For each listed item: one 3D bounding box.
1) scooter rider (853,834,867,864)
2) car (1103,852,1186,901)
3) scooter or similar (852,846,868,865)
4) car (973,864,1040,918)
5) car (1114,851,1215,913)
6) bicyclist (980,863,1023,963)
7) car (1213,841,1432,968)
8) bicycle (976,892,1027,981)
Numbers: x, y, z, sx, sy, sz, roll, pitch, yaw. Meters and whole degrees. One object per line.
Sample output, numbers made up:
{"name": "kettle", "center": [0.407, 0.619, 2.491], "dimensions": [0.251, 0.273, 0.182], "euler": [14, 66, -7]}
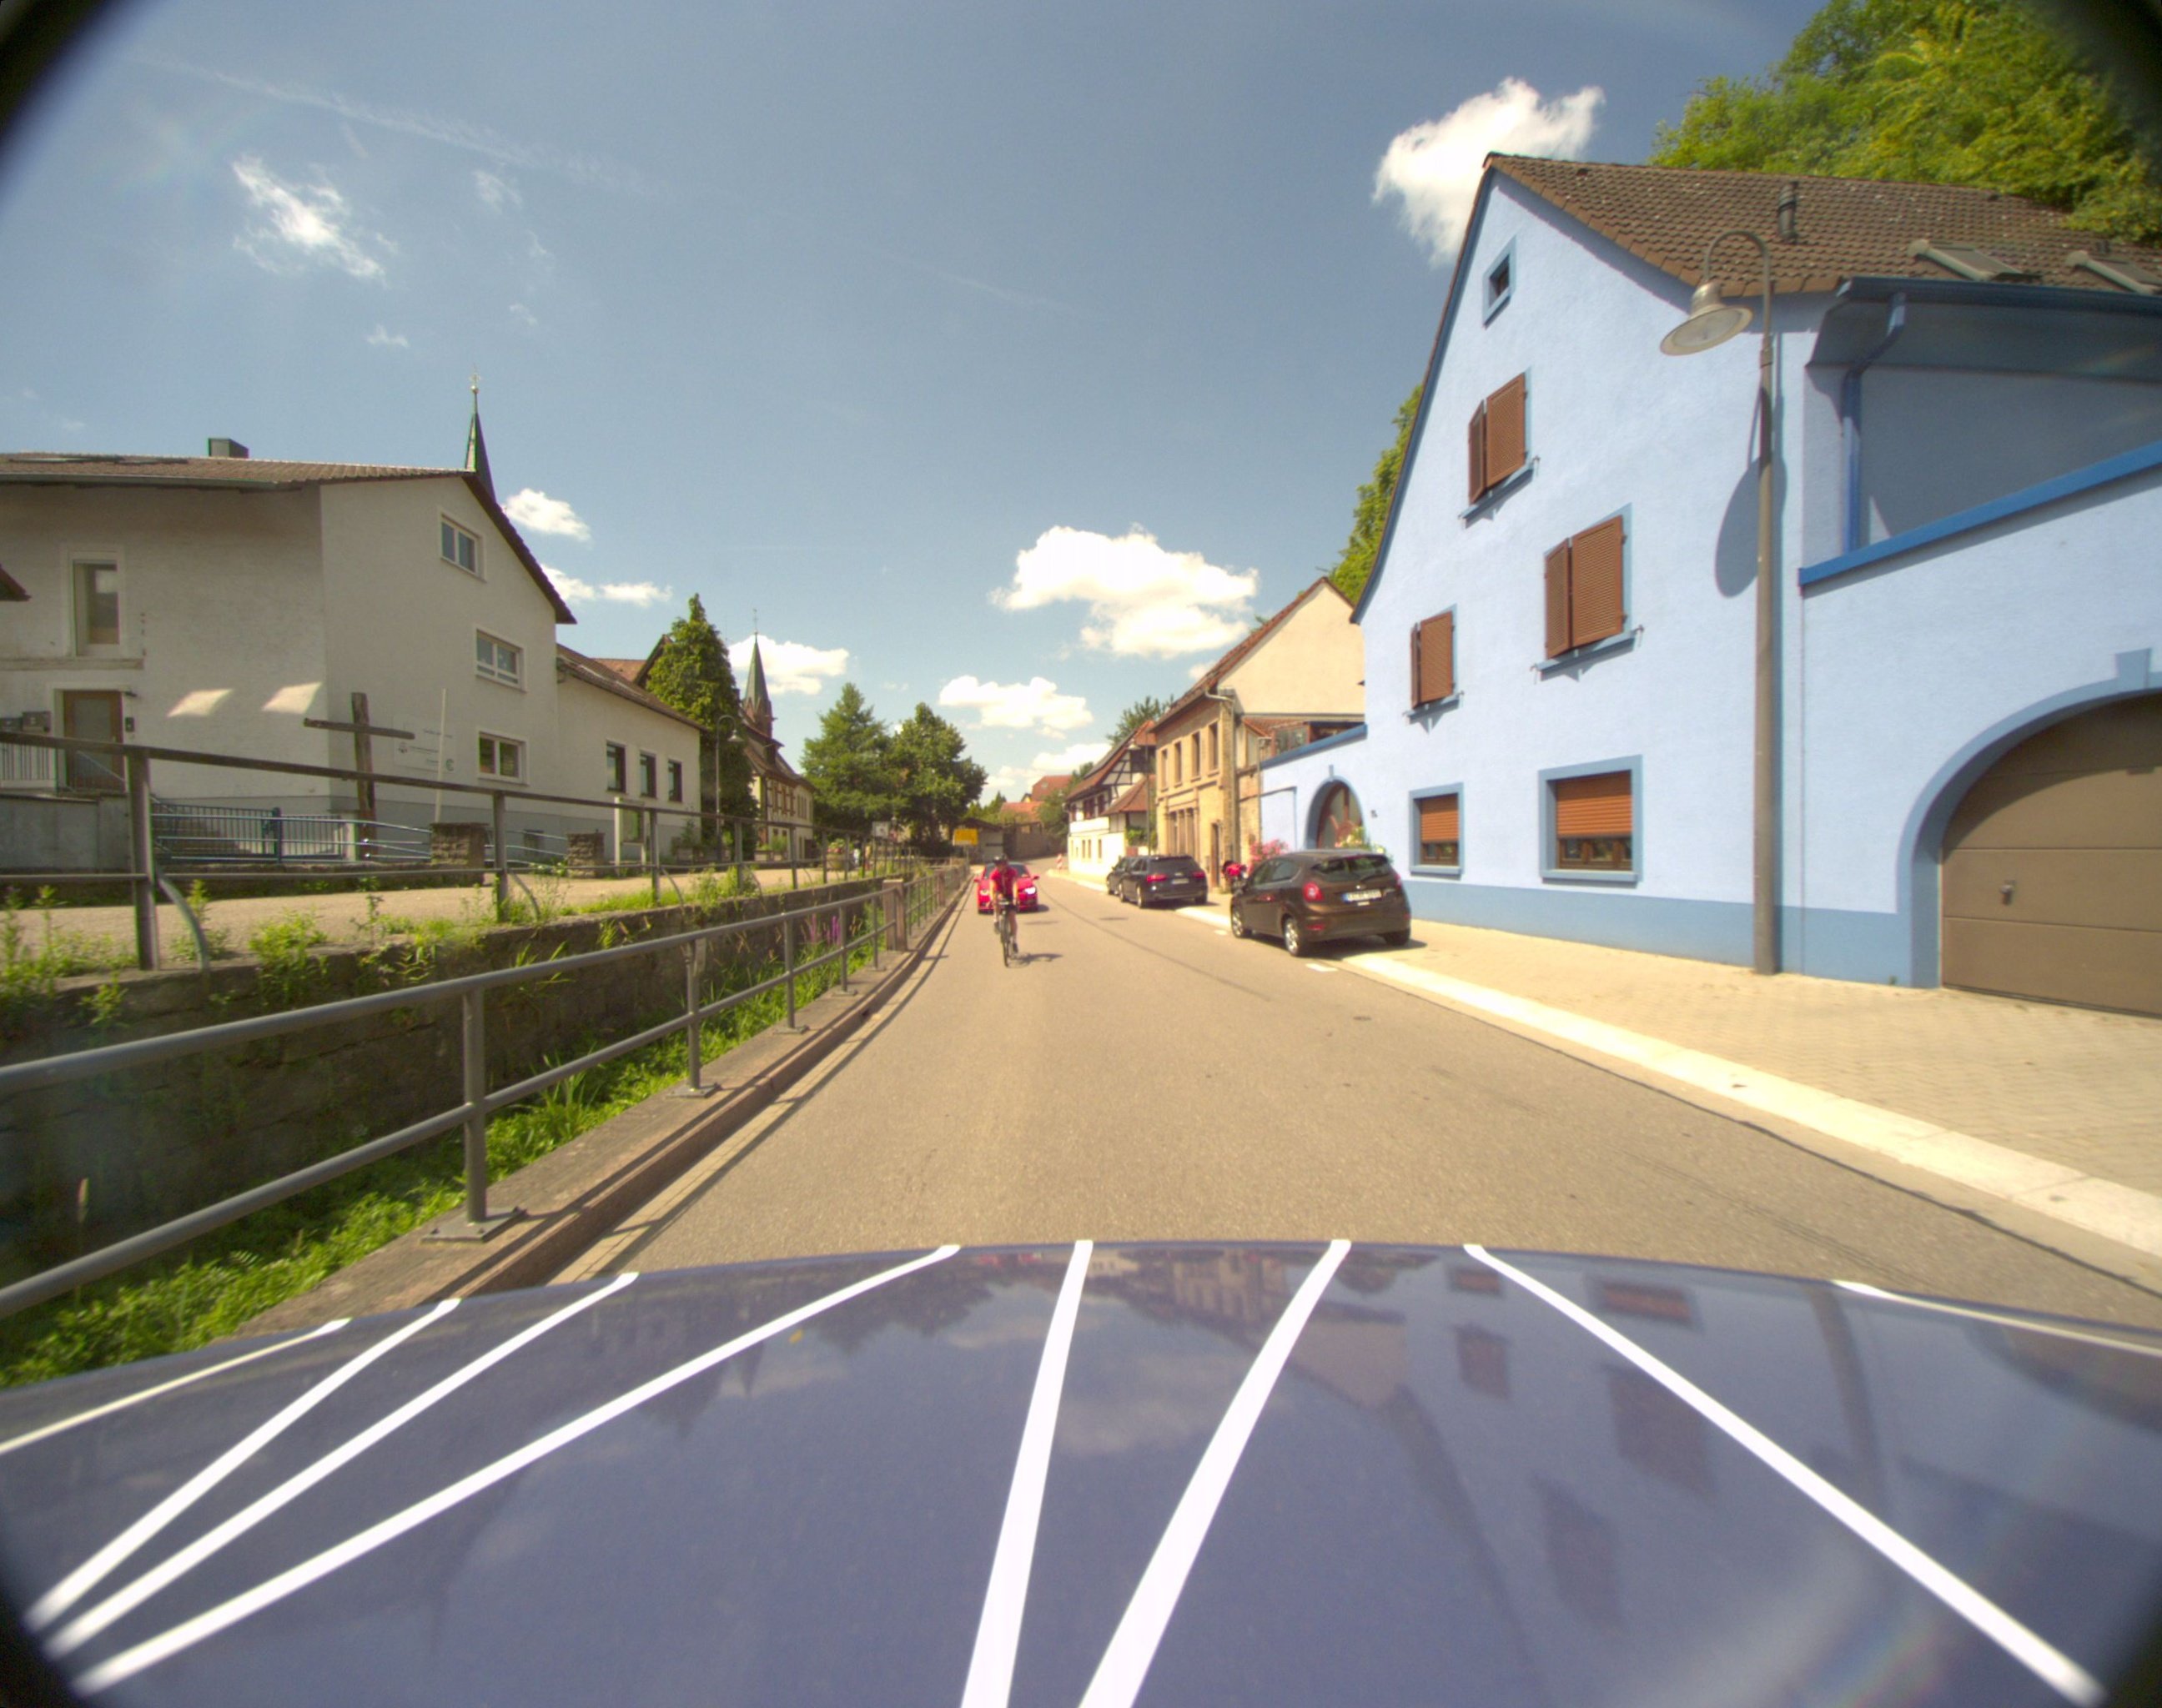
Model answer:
{"name": "scooter rider", "center": [-13.106, -0.282, 45.004], "dimensions": [0.643, 1.722, 0.554], "euler": [-2, 1, -6]}
{"name": "car", "center": [2.136, 0.733, 26.858], "dimensions": [1.963, 1.457, 4.541], "euler": [-2, 1, -8]}
{"name": "scooter or similar", "center": [-13.122, 0.091, 45.146], "dimensions": [0.643, 1.135, 1.810], "euler": [0, 1, -6]}
{"name": "car", "center": [-2.227, 0.999, 21.985], "dimensions": [1.671, 1.344, 3.491], "euler": [-3, 0, -9]}
{"name": "car", "center": [2.281, 0.737, 22.067], "dimensions": [1.890, 1.455, 4.666], "euler": [-4, 0, -5]}
{"name": "bicyclist", "center": [-1.156, 0.843, 11.184], "dimensions": [0.532, 1.396, 0.755], "euler": [-1, 0, -1]}
{"name": "car", "center": [3.513, 0.685, 11.880], "dimensions": [1.722, 1.521, 3.854], "euler": [-5, 0, -7]}
{"name": "bicycle", "center": [-1.130, 1.155, 11.171], "dimensions": [0.531, 1.070, 2.054], "euler": [-1, 0, -1]}
